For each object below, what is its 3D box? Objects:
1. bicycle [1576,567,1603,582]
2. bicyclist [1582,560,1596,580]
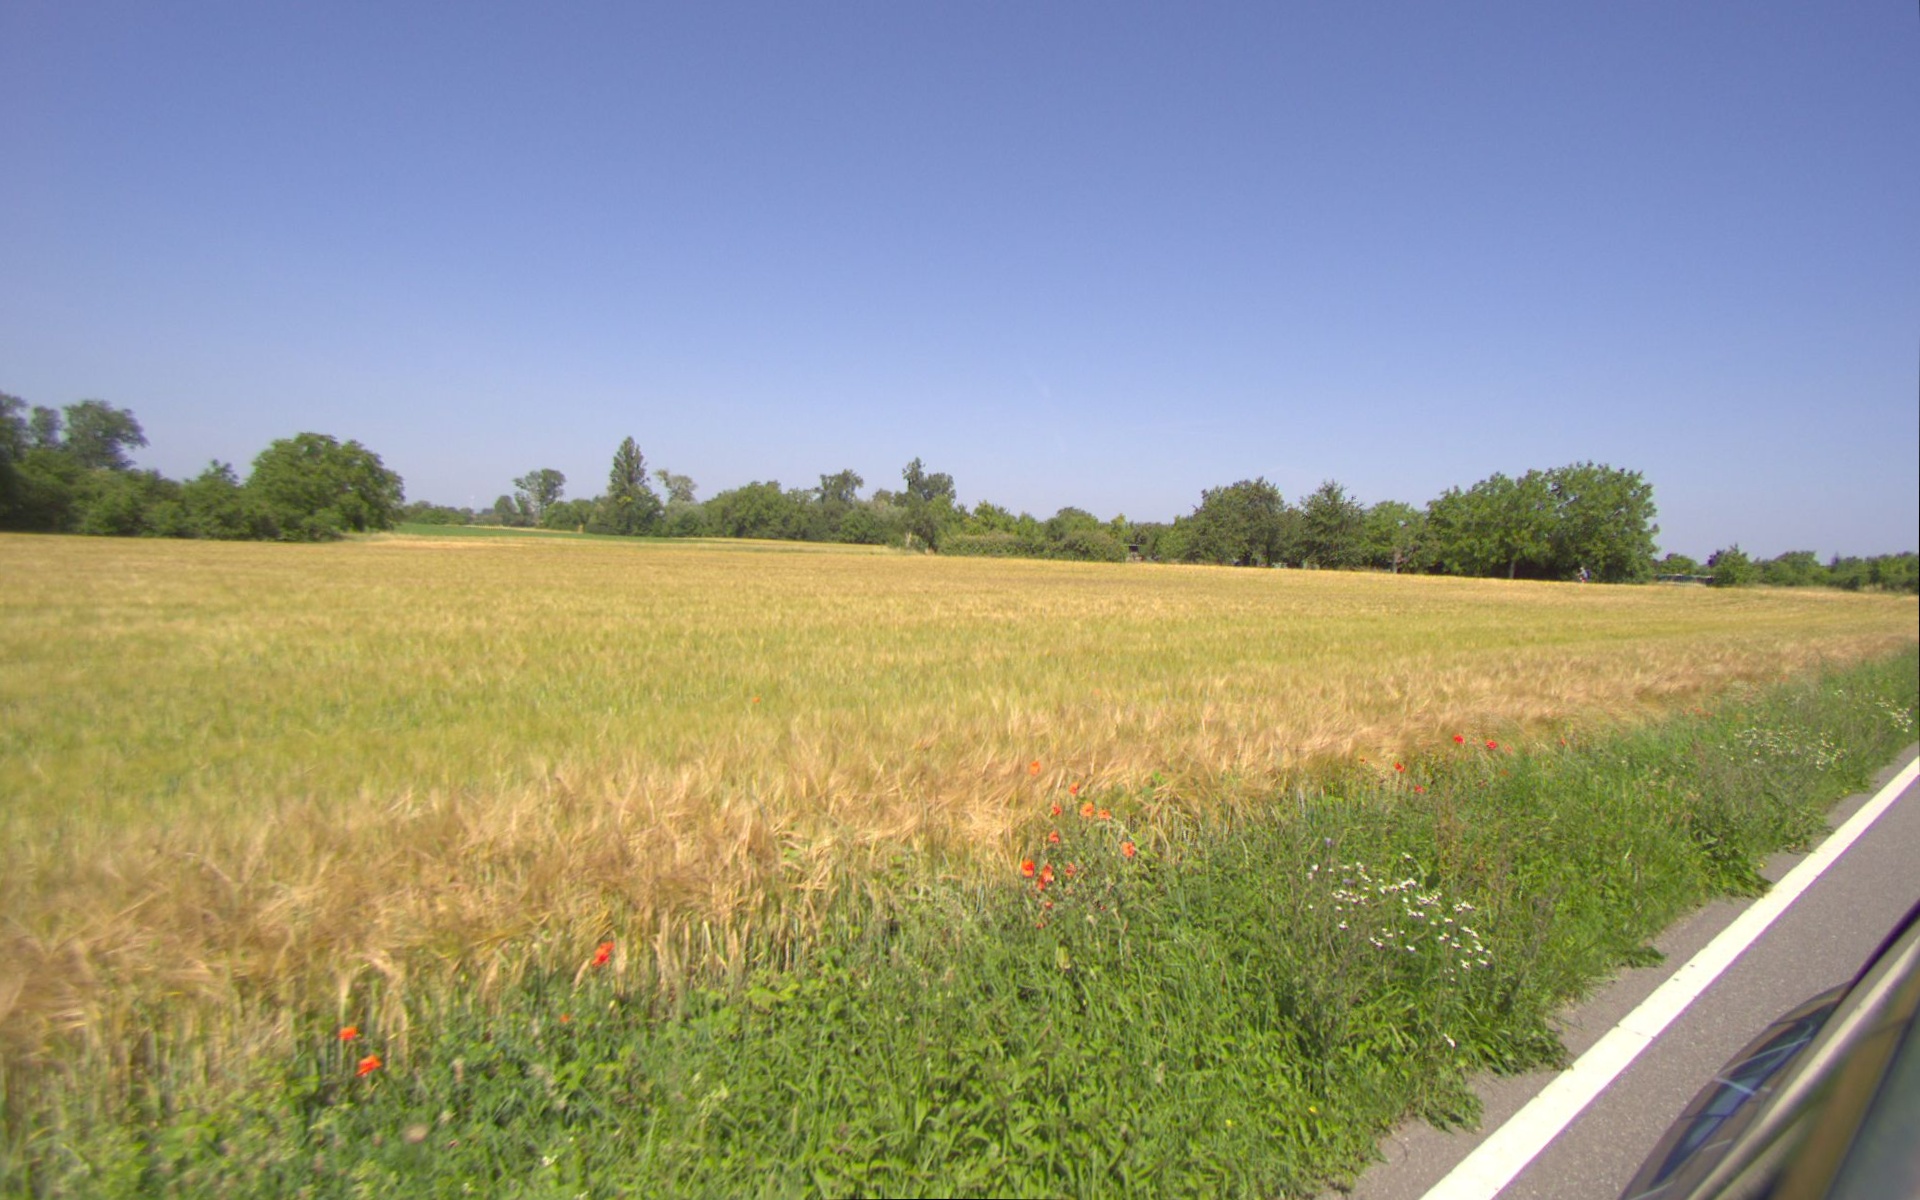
[{"bbox_3d":[51.510,-2.092,82.864,1.744,1.129,0.519,3,3,16],"label":"bicycle"},{"bbox_3d":[51.524,-2.443,82.846,0.725,1.592,0.672,3,3,15],"label":"bicyclist"}]
